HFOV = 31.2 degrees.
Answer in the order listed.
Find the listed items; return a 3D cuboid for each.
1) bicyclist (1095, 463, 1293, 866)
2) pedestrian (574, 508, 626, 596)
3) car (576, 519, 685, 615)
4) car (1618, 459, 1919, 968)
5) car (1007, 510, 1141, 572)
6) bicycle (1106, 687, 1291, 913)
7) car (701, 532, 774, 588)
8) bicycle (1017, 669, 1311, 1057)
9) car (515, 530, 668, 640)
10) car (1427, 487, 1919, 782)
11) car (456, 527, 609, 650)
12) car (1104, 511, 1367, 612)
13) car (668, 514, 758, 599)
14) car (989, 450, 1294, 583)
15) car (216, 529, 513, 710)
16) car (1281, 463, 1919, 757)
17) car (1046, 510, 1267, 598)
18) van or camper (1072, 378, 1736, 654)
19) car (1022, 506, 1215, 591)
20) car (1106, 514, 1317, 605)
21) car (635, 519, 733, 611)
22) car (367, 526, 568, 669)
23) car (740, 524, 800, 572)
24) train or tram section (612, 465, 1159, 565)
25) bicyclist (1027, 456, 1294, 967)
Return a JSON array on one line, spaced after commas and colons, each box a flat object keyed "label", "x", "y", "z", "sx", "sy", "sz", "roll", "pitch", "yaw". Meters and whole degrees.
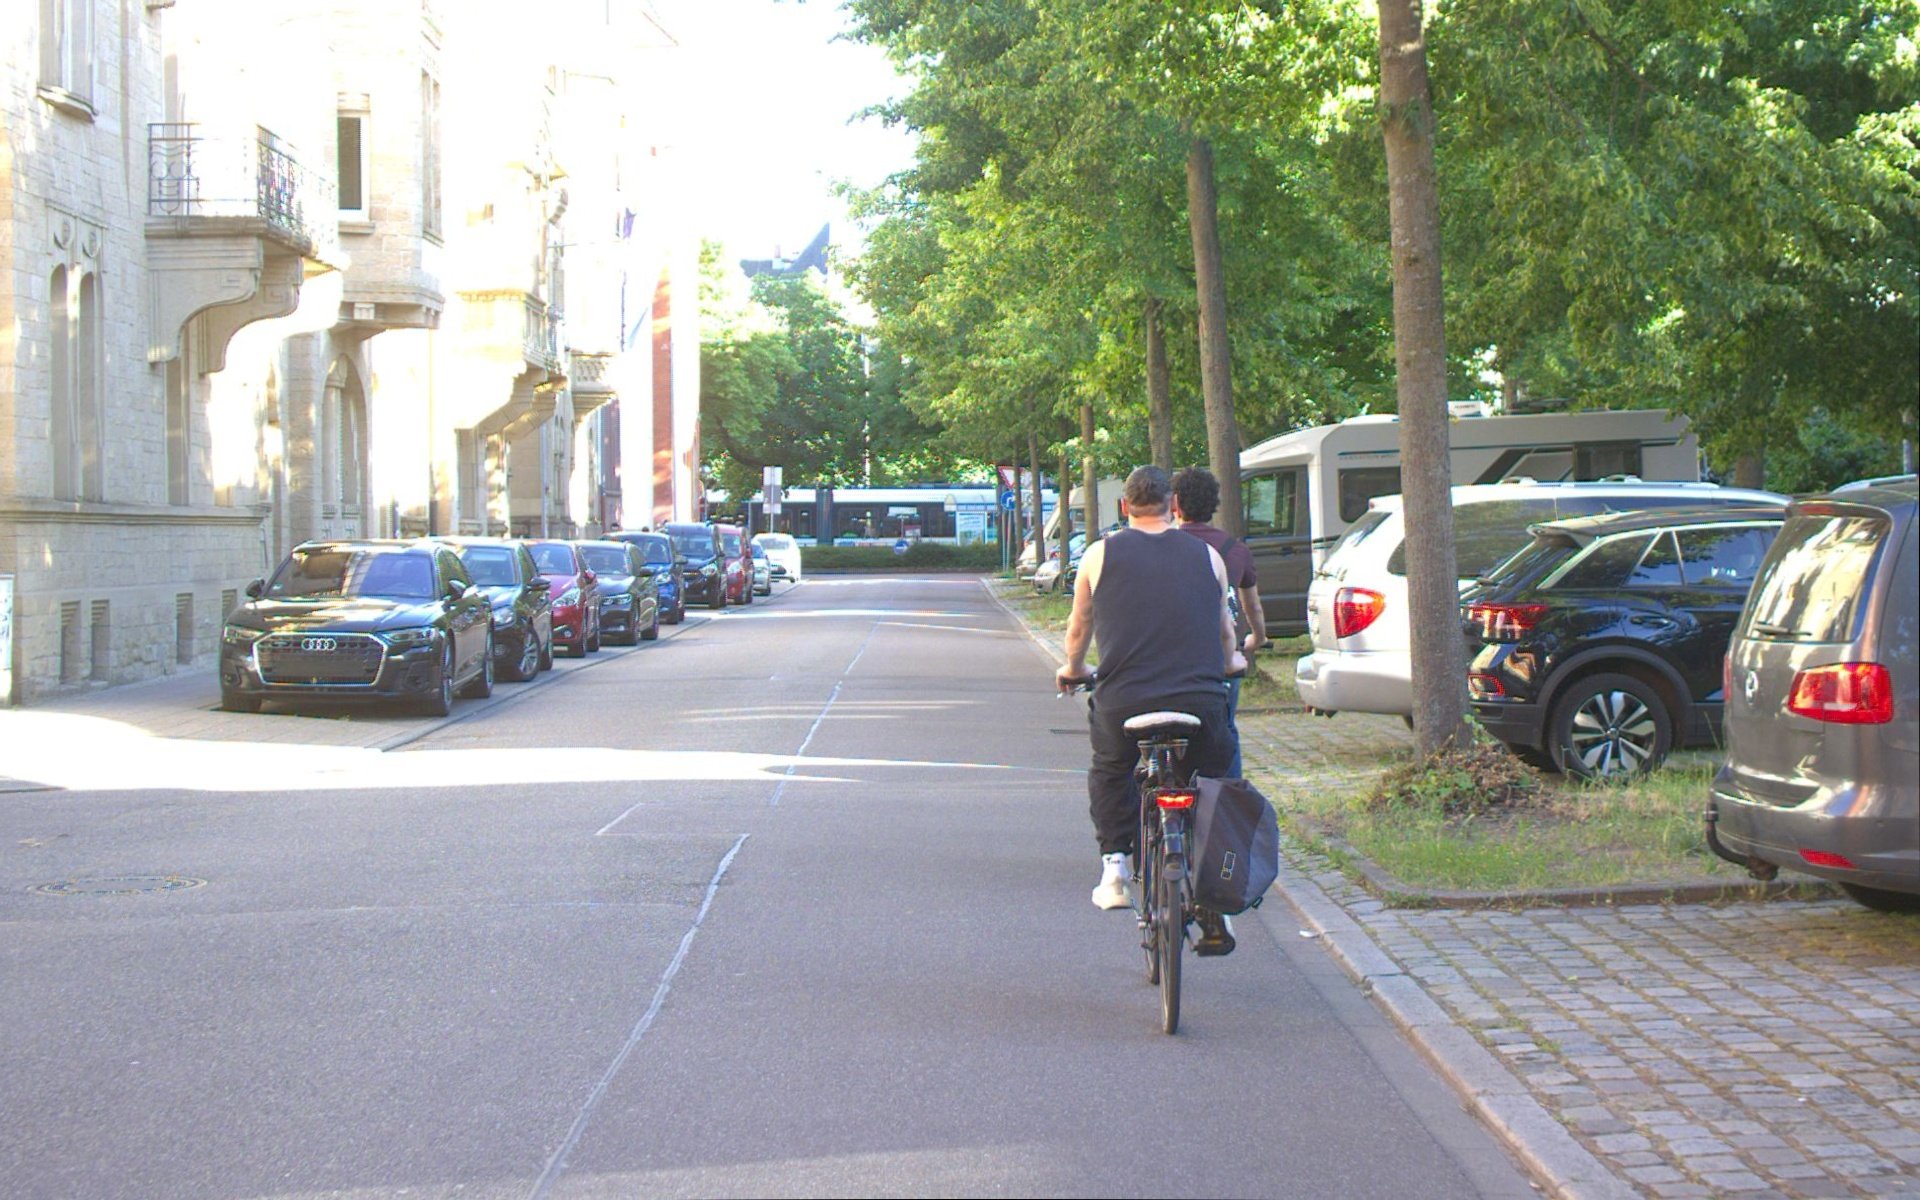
[{"label": "bicyclist", "x": 0.973, "y": 0.253, "z": 14.521, "sx": 0.689, "sy": 1.621, "sz": 0.998, "roll": 2, "pitch": 1, "yaw": -1}, {"label": "pedestrian", "x": -7.219, "y": -0.965, "z": 68.994, "sx": 0.938, "sy": 1.736, "sz": 0.735, "roll": 1, "pitch": 0, "yaw": 0}, {"label": "car", "x": -5.615, "y": -0.582, "z": 58.797, "sx": 1.595, "sy": 1.484, "sz": 2.737, "roll": 3, "pitch": 2, "yaw": -2}, {"label": "car", "x": 4.870, "y": 0.229, "z": 12.279, "sx": 4.538, "sy": 1.628, "sz": 1.813, "roll": -3, "pitch": 1, "yaw": -6}, {"label": "car", "x": 3.519, "y": -1.814, "z": 106.320, "sx": 3.986, "sy": 1.797, "sz": 1.834, "roll": 1, "pitch": 0, "yaw": -2}, {"label": "bicycle", "x": 0.984, "y": 0.819, "z": 14.556, "sx": 0.633, "sy": 0.796, "sz": 1.833, "roll": -1, "pitch": 1, "yaw": 0}, {"label": "car", "x": -5.805, "y": -1.063, "z": 90.090, "sx": 1.583, "sy": 1.339, "sz": 4.131, "roll": 2, "pitch": 2, "yaw": 0}, {"label": "bicycle", "x": 0.608, "y": 0.782, "z": 10.939, "sx": 0.737, "sy": 1.050, "sz": 1.956, "roll": 2, "pitch": 0, "yaw": -1}, {"label": "car", "x": -5.269, "y": -0.253, "z": 49.625, "sx": 1.675, "sy": 1.425, "sz": 4.551, "roll": 2, "pitch": 2, "yaw": 0}, {"label": "car", "x": 4.891, "y": 0.135, "z": 19.972, "sx": 4.068, "sy": 1.471, "sz": 1.694, "roll": -3, "pitch": 2, "yaw": 1}, {"label": "car", "x": -5.400, "y": -0.180, "z": 43.795, "sx": 1.628, "sy": 1.448, "sz": 3.838, "roll": 1, "pitch": 1, "yaw": -3}, {"label": "car", "x": 4.506, "y": -0.624, "z": 56.735, "sx": 4.223, "sy": 1.594, "sz": 1.691, "roll": -1, "pitch": -1, "yaw": 2}, {"label": "car", "x": -5.626, "y": -1.028, "z": 78.757, "sx": 1.689, "sy": 1.819, "sz": 4.273, "roll": 2, "pitch": 2, "yaw": 0}, {"label": "car", "x": 4.401, "y": -2.034, "z": 84.046, "sx": 7.146, "sy": 2.968, "sz": 2.465, "roll": -2, "pitch": 1, "yaw": -3}, {"label": "car", "x": -5.211, "y": 0.122, "z": 30.693, "sx": 1.811, "sy": 1.422, "sz": 4.898, "roll": 2, "pitch": 1, "yaw": -1}, {"label": "car", "x": 4.504, "y": 0.029, "z": 22.434, "sx": 4.619, "sy": 1.703, "sz": 1.833, "roll": -2, "pitch": 1, "yaw": 1}, {"label": "car", "x": 3.722, "y": -0.876, "z": 65.697, "sx": 4.139, "sy": 1.594, "sz": 1.702, "roll": -1, "pitch": -1, "yaw": 2}, {"label": "van or camper", "x": 4.920, "y": -0.951, "z": 39.073, "sx": 7.147, "sy": 2.638, "sz": 2.464, "roll": -3, "pitch": 1, "yaw": 2}, {"label": "car", "x": 3.514, "y": -1.151, "z": 76.563, "sx": 4.082, "sy": 1.644, "sz": 1.641, "roll": -3, "pitch": 1, "yaw": -2}, {"label": "car", "x": 4.599, "y": -0.724, "z": 63.183, "sx": 3.773, "sy": 1.594, "sz": 1.691, "roll": -1, "pitch": -1, "yaw": 2}, {"label": "car", "x": -5.732, "y": -0.766, "z": 71.833, "sx": 1.640, "sy": 1.777, "sz": 4.354, "roll": 2, "pitch": 2, "yaw": 0}, {"label": "car", "x": -5.219, "y": -0.049, "z": 36.827, "sx": 1.696, "sy": 1.448, "sz": 4.028, "roll": 0, "pitch": 1, "yaw": -2}, {"label": "car", "x": -5.918, "y": -1.630, "z": 107.300, "sx": 1.583, "sy": 1.371, "sz": 4.131, "roll": 2, "pitch": 2, "yaw": 0}, {"label": "train or tram section", "x": -3.054, "y": -3.629, "z": 149.806, "sx": 23.799, "sy": 3.696, "sz": 4.287, "roll": 1, "pitch": 1, "yaw": -22}, {"label": "bicyclist", "x": 0.623, "y": 0.340, "z": 10.963, "sx": 0.730, "sy": 1.542, "sz": 0.885, "roll": 2, "pitch": 0, "yaw": -1}]
